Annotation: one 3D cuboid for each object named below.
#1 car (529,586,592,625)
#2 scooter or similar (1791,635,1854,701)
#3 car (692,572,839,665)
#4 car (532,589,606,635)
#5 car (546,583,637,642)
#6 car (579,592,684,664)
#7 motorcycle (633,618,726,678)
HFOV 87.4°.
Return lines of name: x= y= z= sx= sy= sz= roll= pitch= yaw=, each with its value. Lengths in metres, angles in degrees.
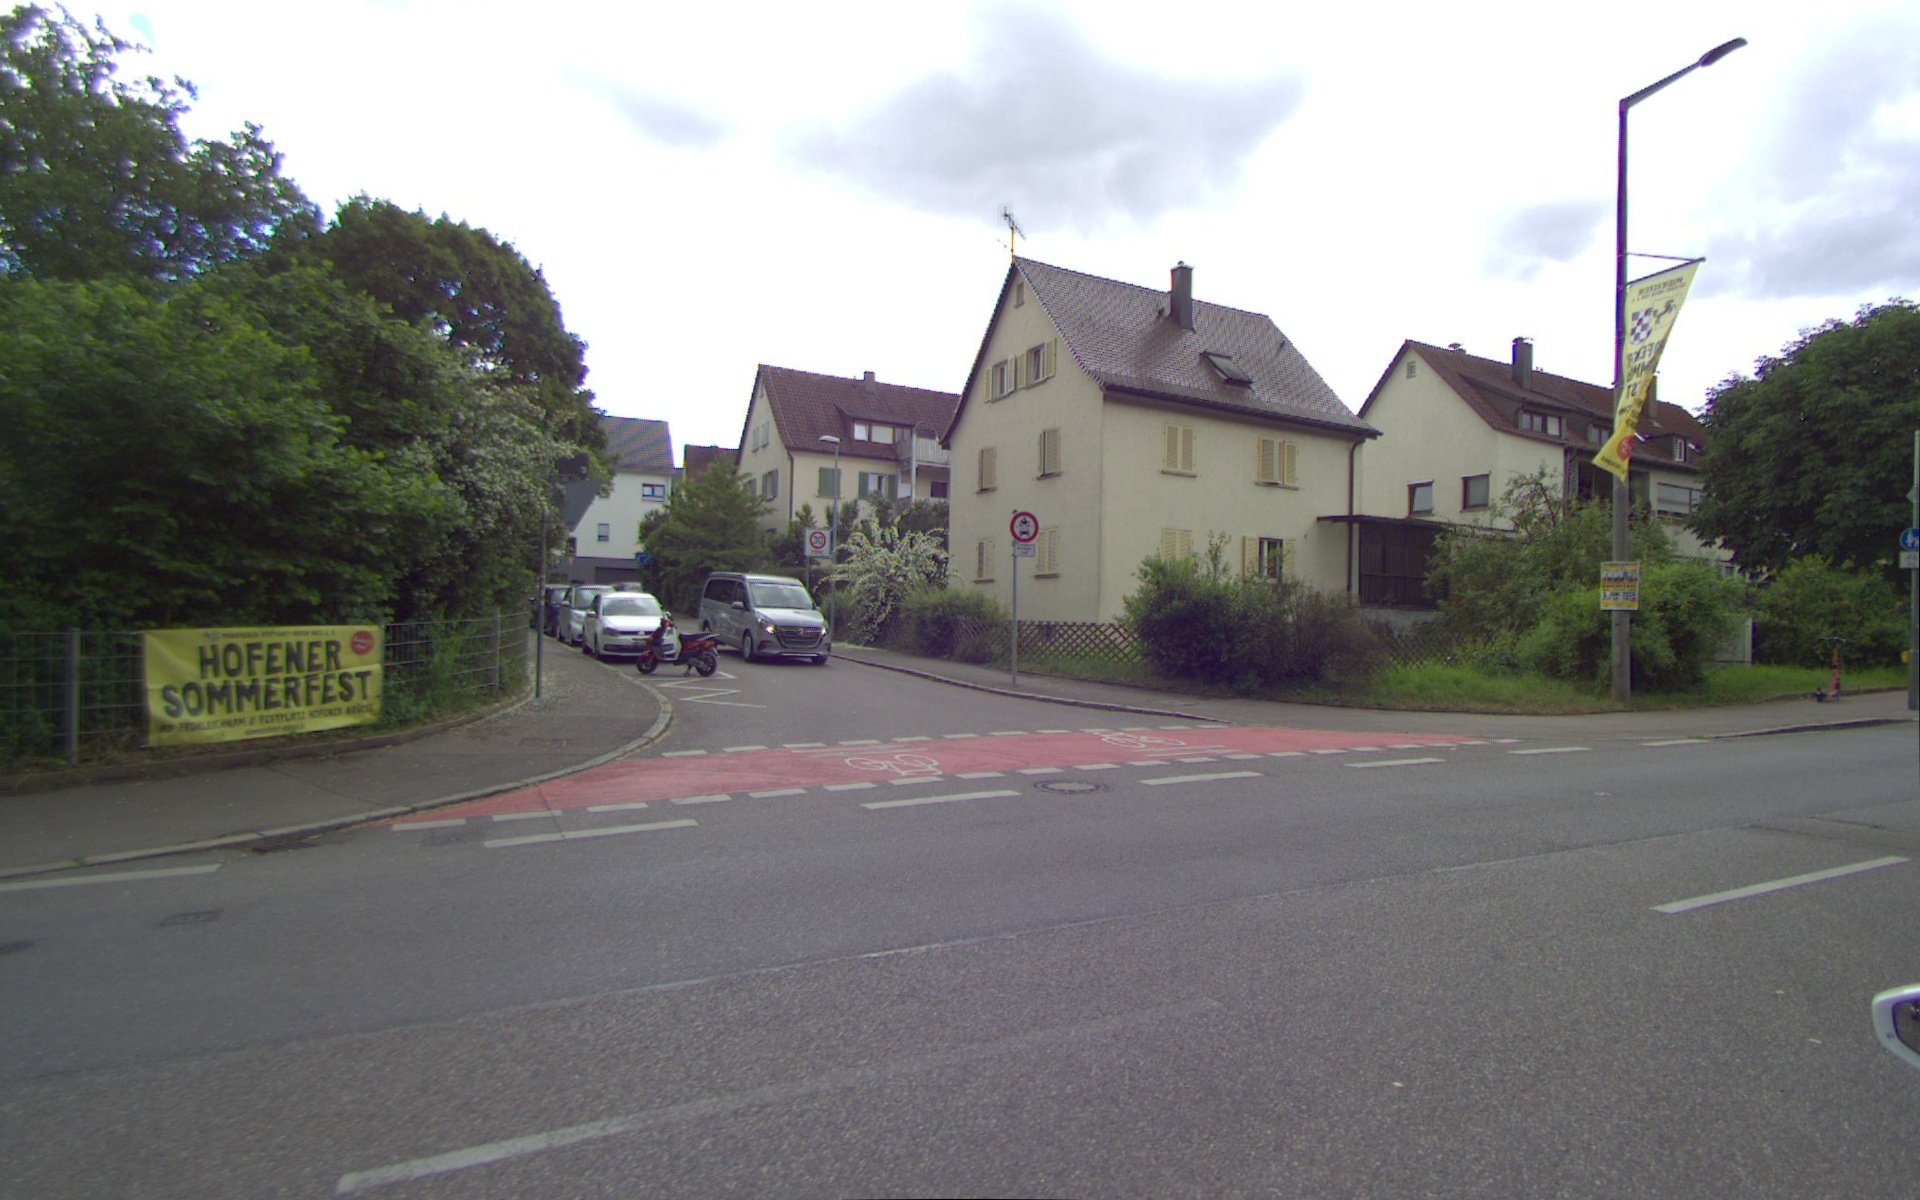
car: x=-14.024 y=0.182 z=35.167 sx=1.641 sy=1.273 sz=3.376 roll=1 pitch=0 yaw=-28
scooter or similar: x=17.304 y=1.354 z=20.149 sx=1.407 sy=1.275 sz=0.461 roll=1 pitch=-1 yaw=-27
car: x=-4.842 y=0.412 z=24.317 sx=1.929 sy=1.953 sz=5.116 roll=4 pitch=-1 yaw=-29
car: x=-11.962 y=0.346 z=30.624 sx=1.668 sy=1.326 sz=3.376 roll=1 pitch=0 yaw=-28
car: x=-10.054 y=0.315 z=27.274 sx=1.779 sy=1.462 sz=3.880 roll=1 pitch=0 yaw=-28
car: x=-7.470 y=0.577 z=22.621 sx=1.584 sy=1.462 sz=3.880 roll=1 pitch=0 yaw=-28
motorcycle: x=-5.320 y=0.906 z=19.072 sx=1.615 sy=1.082 sz=0.461 roll=1 pitch=0 yaw=7
